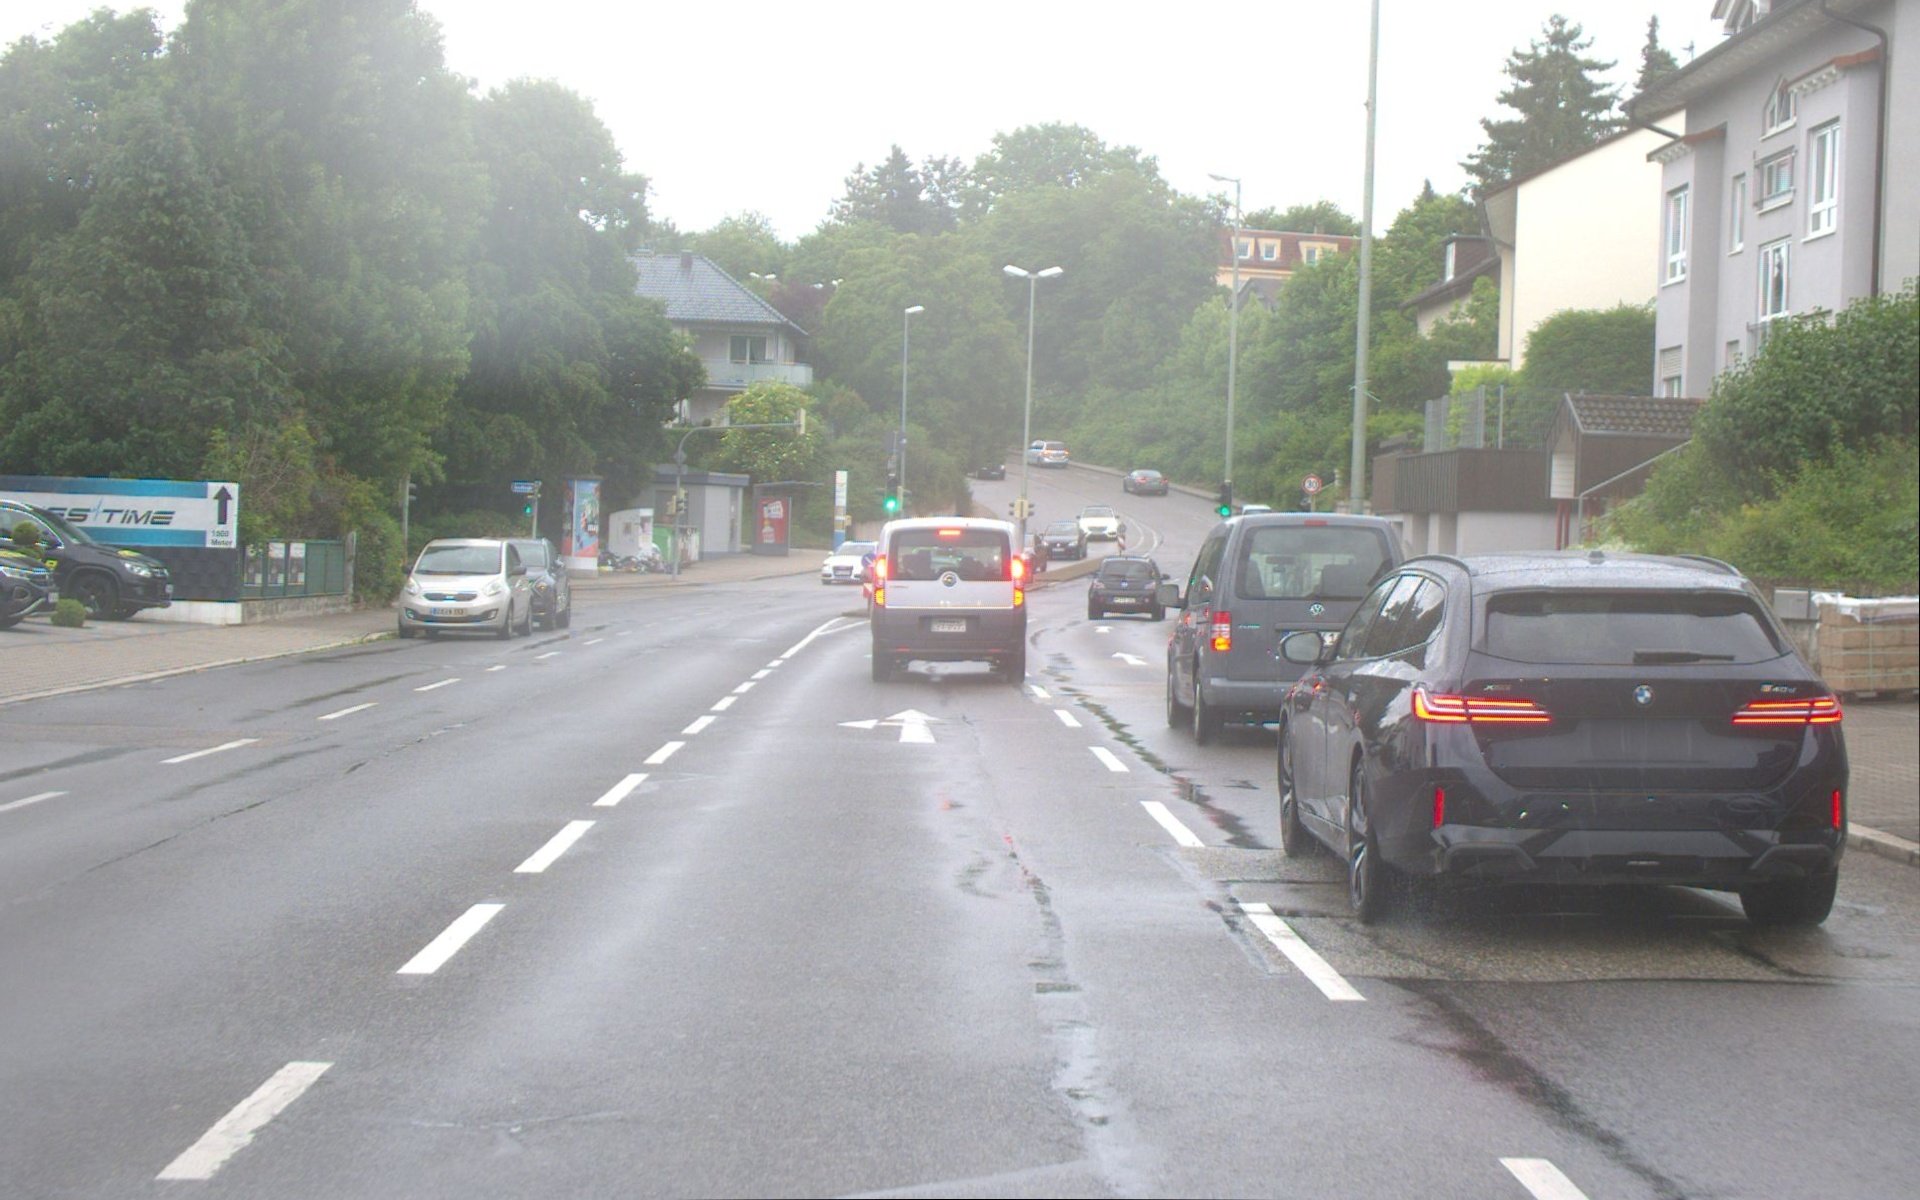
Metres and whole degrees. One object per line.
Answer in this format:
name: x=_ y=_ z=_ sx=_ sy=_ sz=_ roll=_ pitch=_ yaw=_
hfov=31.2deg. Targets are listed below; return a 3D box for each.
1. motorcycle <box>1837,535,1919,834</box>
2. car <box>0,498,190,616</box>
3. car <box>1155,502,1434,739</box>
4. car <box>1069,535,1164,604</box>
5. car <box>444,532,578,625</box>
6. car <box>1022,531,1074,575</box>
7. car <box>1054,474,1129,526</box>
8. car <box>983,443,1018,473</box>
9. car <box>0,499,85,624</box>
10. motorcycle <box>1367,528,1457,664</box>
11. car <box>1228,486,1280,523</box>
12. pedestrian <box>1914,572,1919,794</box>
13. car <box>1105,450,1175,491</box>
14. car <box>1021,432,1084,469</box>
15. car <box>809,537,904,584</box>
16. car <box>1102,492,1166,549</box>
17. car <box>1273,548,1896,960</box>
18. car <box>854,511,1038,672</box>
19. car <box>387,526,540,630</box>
motorcycle: x=5.373 y=0.420 z=17.485 sx=2.083 sy=1.445 sz=0.759 roll=1 pitch=1 yaw=-44
car: x=-13.786 y=-0.711 z=51.309 sx=4.072 sy=1.511 sz=1.856 roll=5 pitch=1 yaw=-1
car: x=2.659 y=0.123 z=28.162 sx=1.838 sy=1.761 sz=4.000 roll=1 pitch=1 yaw=0
car: x=3.650 y=-0.736 z=80.627 sx=1.993 sy=1.573 sz=4.000 roll=1 pitch=1 yaw=0
car: x=-8.092 y=-0.403 z=62.214 sx=1.884 sy=1.579 sz=4.000 roll=1 pitch=1 yaw=0
car: x=3.559 y=-1.920 z=139.876 sx=1.993 sy=1.766 sz=4.000 roll=1 pitch=1 yaw=0
car: x=6.032 y=-4.634 z=158.672 sx=2.521 sy=2.006 sz=5.610 roll=2 pitch=4 yaw=-7
car: x=2.366 y=-8.338 z=201.798 sx=1.993 sy=1.579 sz=4.000 roll=1 pitch=1 yaw=0
car: x=-13.612 y=-0.641 z=44.375 sx=4.072 sy=1.511 sz=1.856 roll=5 pitch=1 yaw=-1
motorcycle: x=5.178 y=-0.058 z=39.489 sx=0.703 sy=1.504 sz=2.150 roll=-1 pitch=1 yaw=0
car: x=13.513 y=-4.376 z=158.001 sx=1.993 sy=1.579 sz=4.000 roll=1 pitch=1 yaw=0
pedestrian: x=5.348 y=0.167 z=17.419 sx=0.830 sy=1.644 sz=0.622 roll=1 pitch=1 yaw=-45
car: x=10.087 y=-7.282 z=193.144 sx=2.521 sy=2.006 sz=5.611 roll=1 pitch=4 yaw=-12
car: x=5.727 y=-9.306 z=213.890 sx=2.521 sy=2.006 sz=5.611 roll=1 pitch=5 yaw=-13
car: x=-3.511 y=-1.347 z=117.783 sx=1.995 sy=1.542 sz=4.393 roll=2 pitch=1 yaw=16
car: x=7.110 y=-3.294 z=140.838 sx=2.522 sy=2.006 sz=5.609 roll=2 pitch=4 yaw=2
car: x=2.497 y=0.541 z=14.758 sx=1.993 sy=1.478 sz=4.000 roll=1 pitch=1 yaw=1
car: x=-0.166 y=-0.126 z=40.006 sx=1.993 sy=1.731 sz=4.000 roll=1 pitch=1 yaw=0
car: x=-7.991 y=-0.372 z=55.630 sx=1.884 sy=1.579 sz=4.000 roll=1 pitch=1 yaw=0
